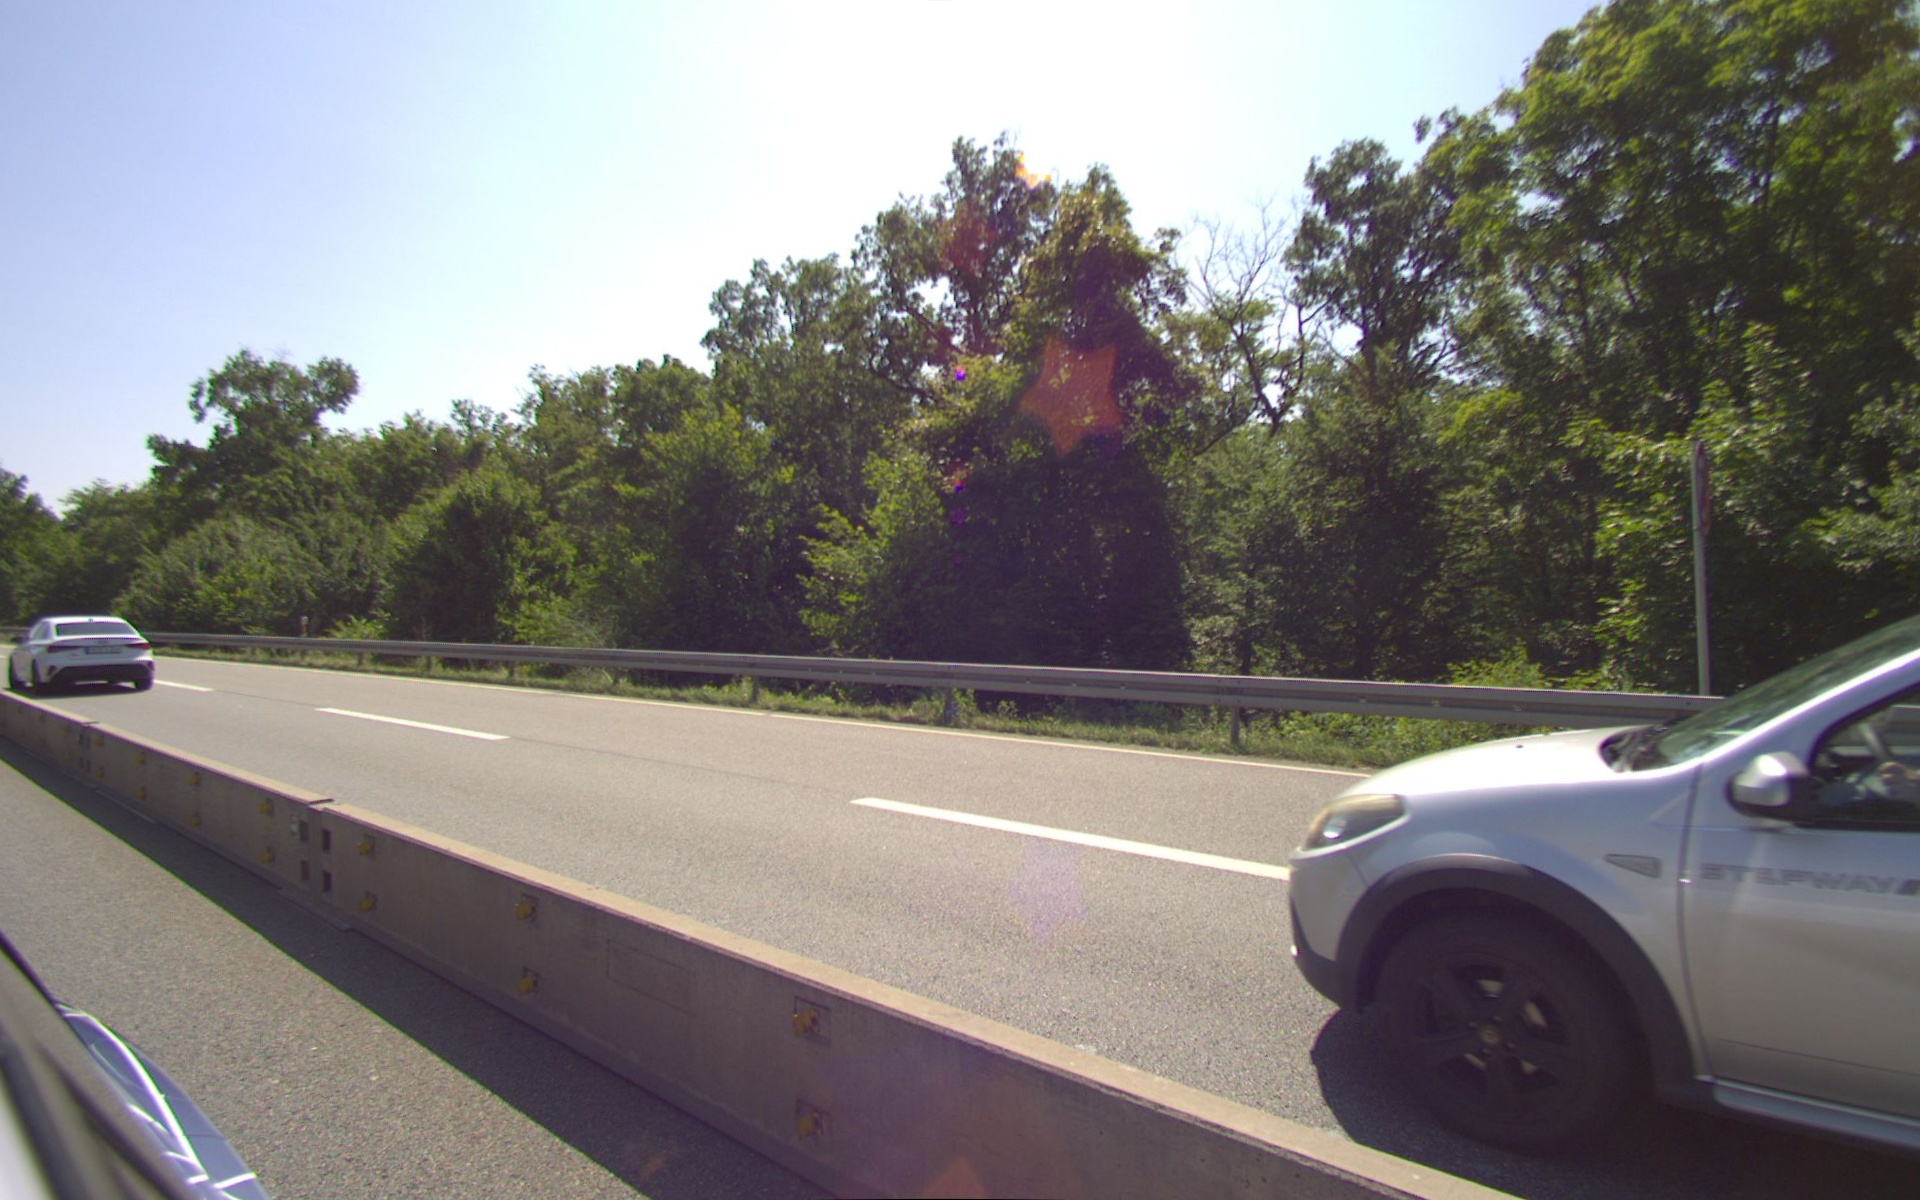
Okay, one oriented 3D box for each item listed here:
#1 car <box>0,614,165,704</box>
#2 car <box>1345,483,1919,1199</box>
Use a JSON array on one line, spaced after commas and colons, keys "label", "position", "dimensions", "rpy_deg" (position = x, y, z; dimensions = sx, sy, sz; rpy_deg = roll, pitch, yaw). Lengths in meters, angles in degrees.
[{"label": "car", "position": [-17.460, 1.081, 20.007], "dimensions": [4.432, 1.550, 1.929], "rpy_deg": [-1, -1, 40]}, {"label": "car", "position": [3.106, 0.583, 2.313], "dimensions": [3.783, 1.642, 1.810], "rpy_deg": [-1, -1, 42]}]
